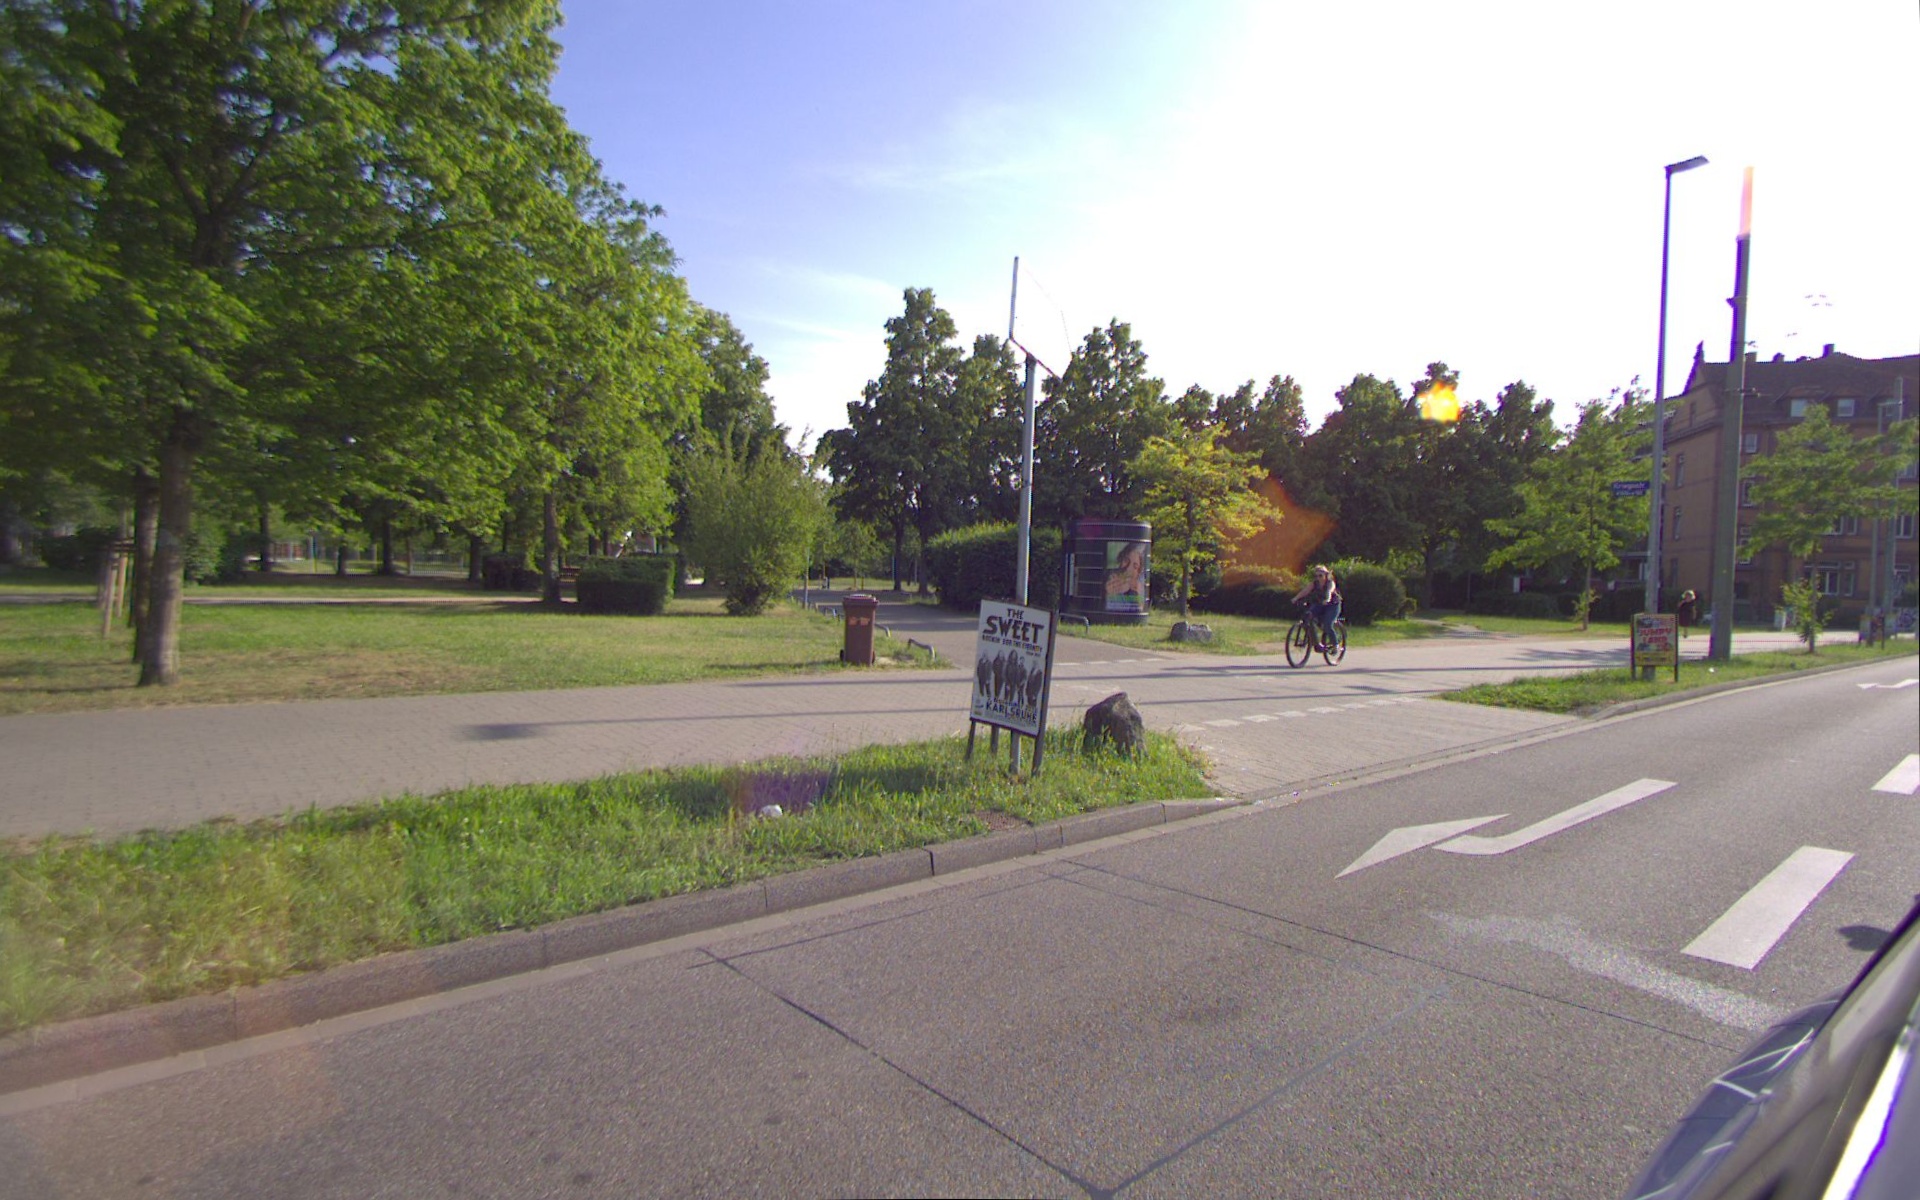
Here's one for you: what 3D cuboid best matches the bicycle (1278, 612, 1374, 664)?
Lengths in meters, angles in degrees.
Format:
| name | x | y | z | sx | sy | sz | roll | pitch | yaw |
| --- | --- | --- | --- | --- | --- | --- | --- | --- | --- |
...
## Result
| name | x | y | z | sx | sy | sz | roll | pitch | yaw |
| --- | --- | --- | --- | --- | --- | --- | --- | --- | --- |
| bicycle | 6.052 | 0.601 | 16.674 | 2.131 | 0.766 | 0.496 | 0 | 3 | -41 |

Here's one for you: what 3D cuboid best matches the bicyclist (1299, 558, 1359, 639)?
| name | x | y | z | sx | sy | sz | roll | pitch | yaw |
| --- | --- | --- | --- | --- | --- | --- | --- | --- | --- |
| bicyclist | 6.066 | -0.026 | 16.633 | 0.854 | 1.278 | 0.535 | 1 | 2 | -41 |

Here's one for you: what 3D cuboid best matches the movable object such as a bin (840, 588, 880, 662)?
| name | x | y | z | sx | sy | sz | roll | pitch | yaw |
| --- | --- | --- | --- | --- | --- | --- | --- | --- | --- |
| movable object such as a bin | -1.321 | 0.317 | 13.444 | 0.447 | 0.929 | 0.605 | 2 | 1 | 0 |

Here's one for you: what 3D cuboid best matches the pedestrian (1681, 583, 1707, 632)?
| name | x | y | z | sx | sy | sz | roll | pitch | yaw |
| --- | --- | --- | --- | --- | --- | --- | --- | --- | --- |
| pedestrian | 26.044 | 0.266 | 35.912 | 0.607 | 1.706 | 0.621 | 1 | 0 | -41 |
